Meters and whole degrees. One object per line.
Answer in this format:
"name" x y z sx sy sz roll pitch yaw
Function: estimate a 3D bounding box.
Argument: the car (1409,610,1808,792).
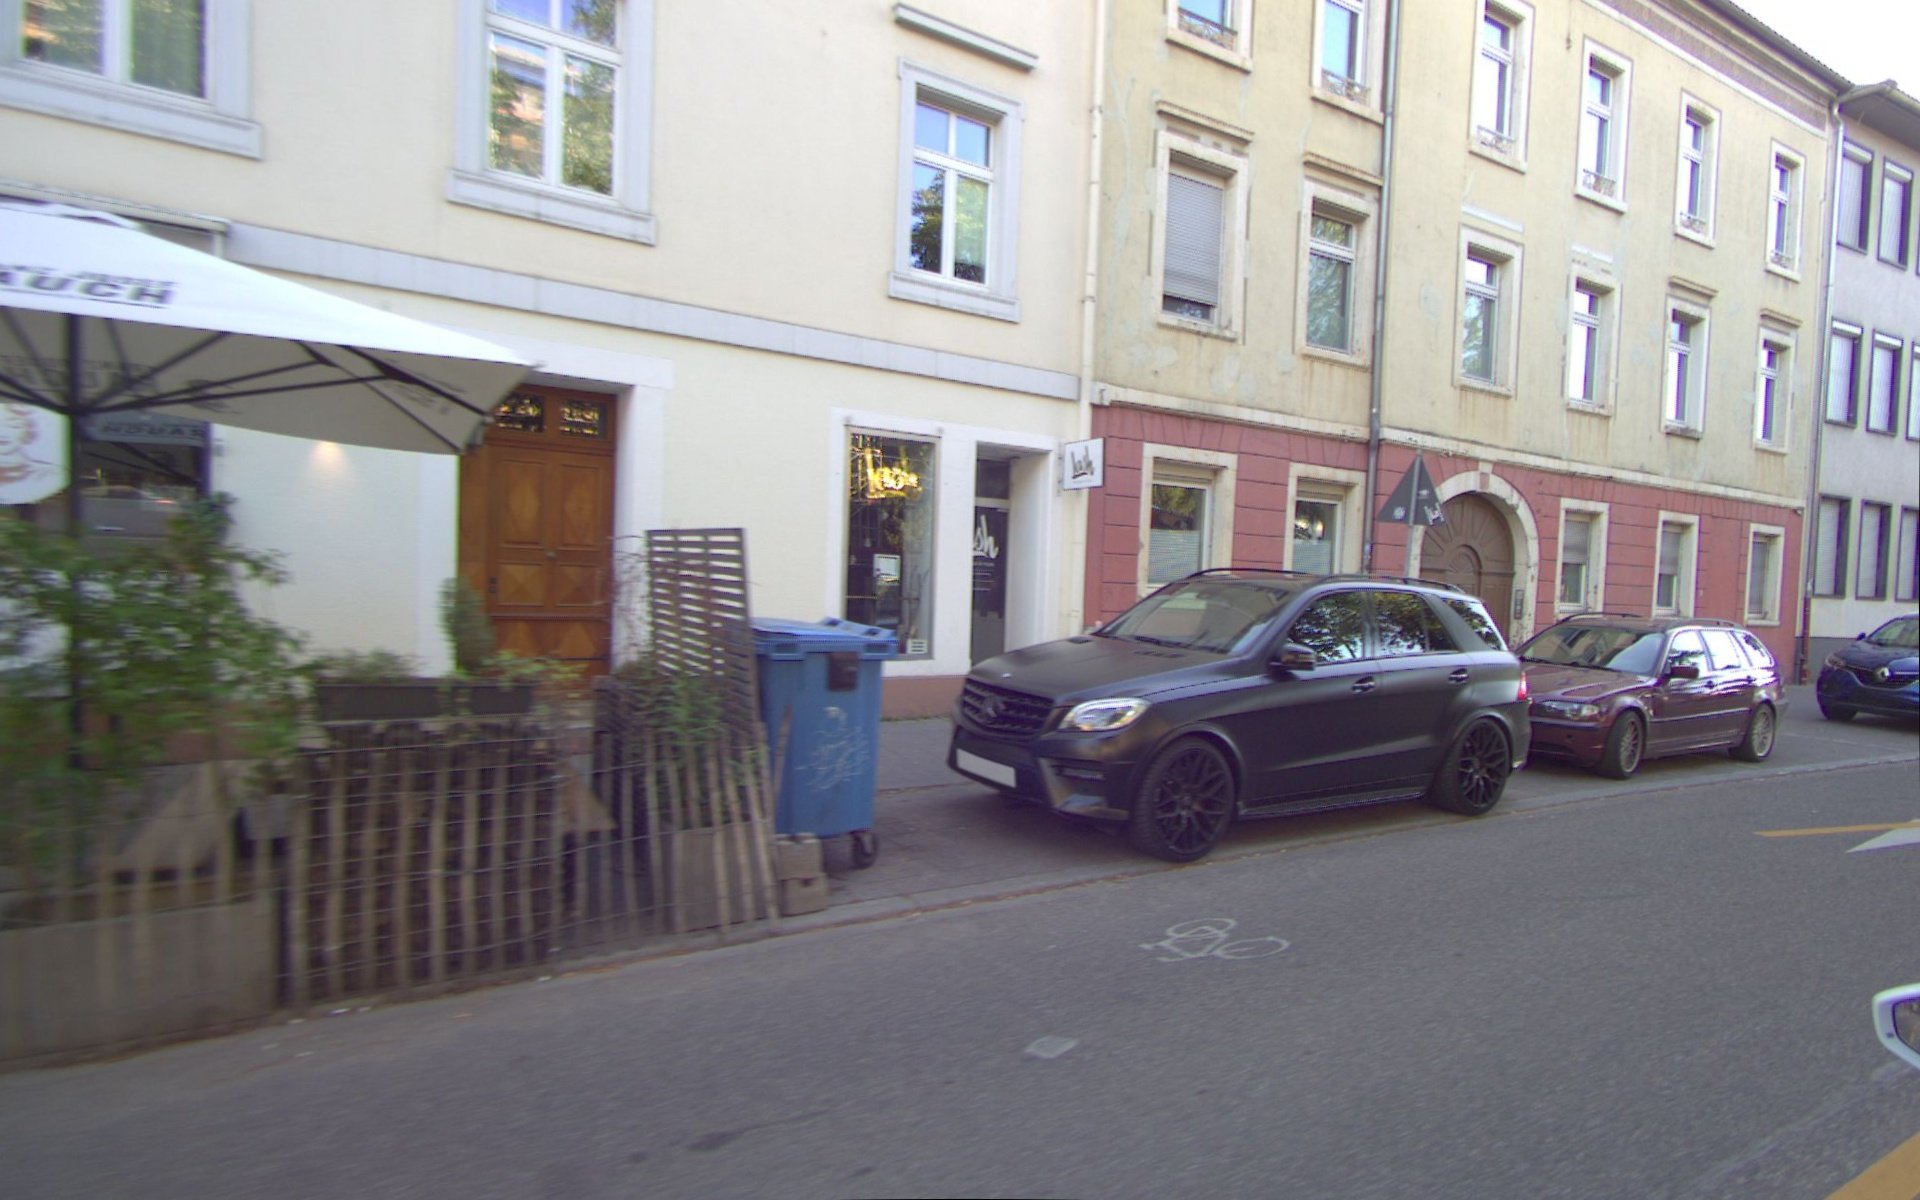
"car" 6.733 0.899 10.312 4.376 1.500 1.645 1 1 -31

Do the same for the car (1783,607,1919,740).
"car" 14.039 0.993 14.356 4.290 1.690 1.927 1 1 -27

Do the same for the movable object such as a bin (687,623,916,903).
"movable object such as a bin" -0.926 0.813 5.615 0.918 1.313 1.211 1 1 -27

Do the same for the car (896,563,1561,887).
"car" 2.077 0.682 7.315 4.729 1.702 1.912 1 1 -31
